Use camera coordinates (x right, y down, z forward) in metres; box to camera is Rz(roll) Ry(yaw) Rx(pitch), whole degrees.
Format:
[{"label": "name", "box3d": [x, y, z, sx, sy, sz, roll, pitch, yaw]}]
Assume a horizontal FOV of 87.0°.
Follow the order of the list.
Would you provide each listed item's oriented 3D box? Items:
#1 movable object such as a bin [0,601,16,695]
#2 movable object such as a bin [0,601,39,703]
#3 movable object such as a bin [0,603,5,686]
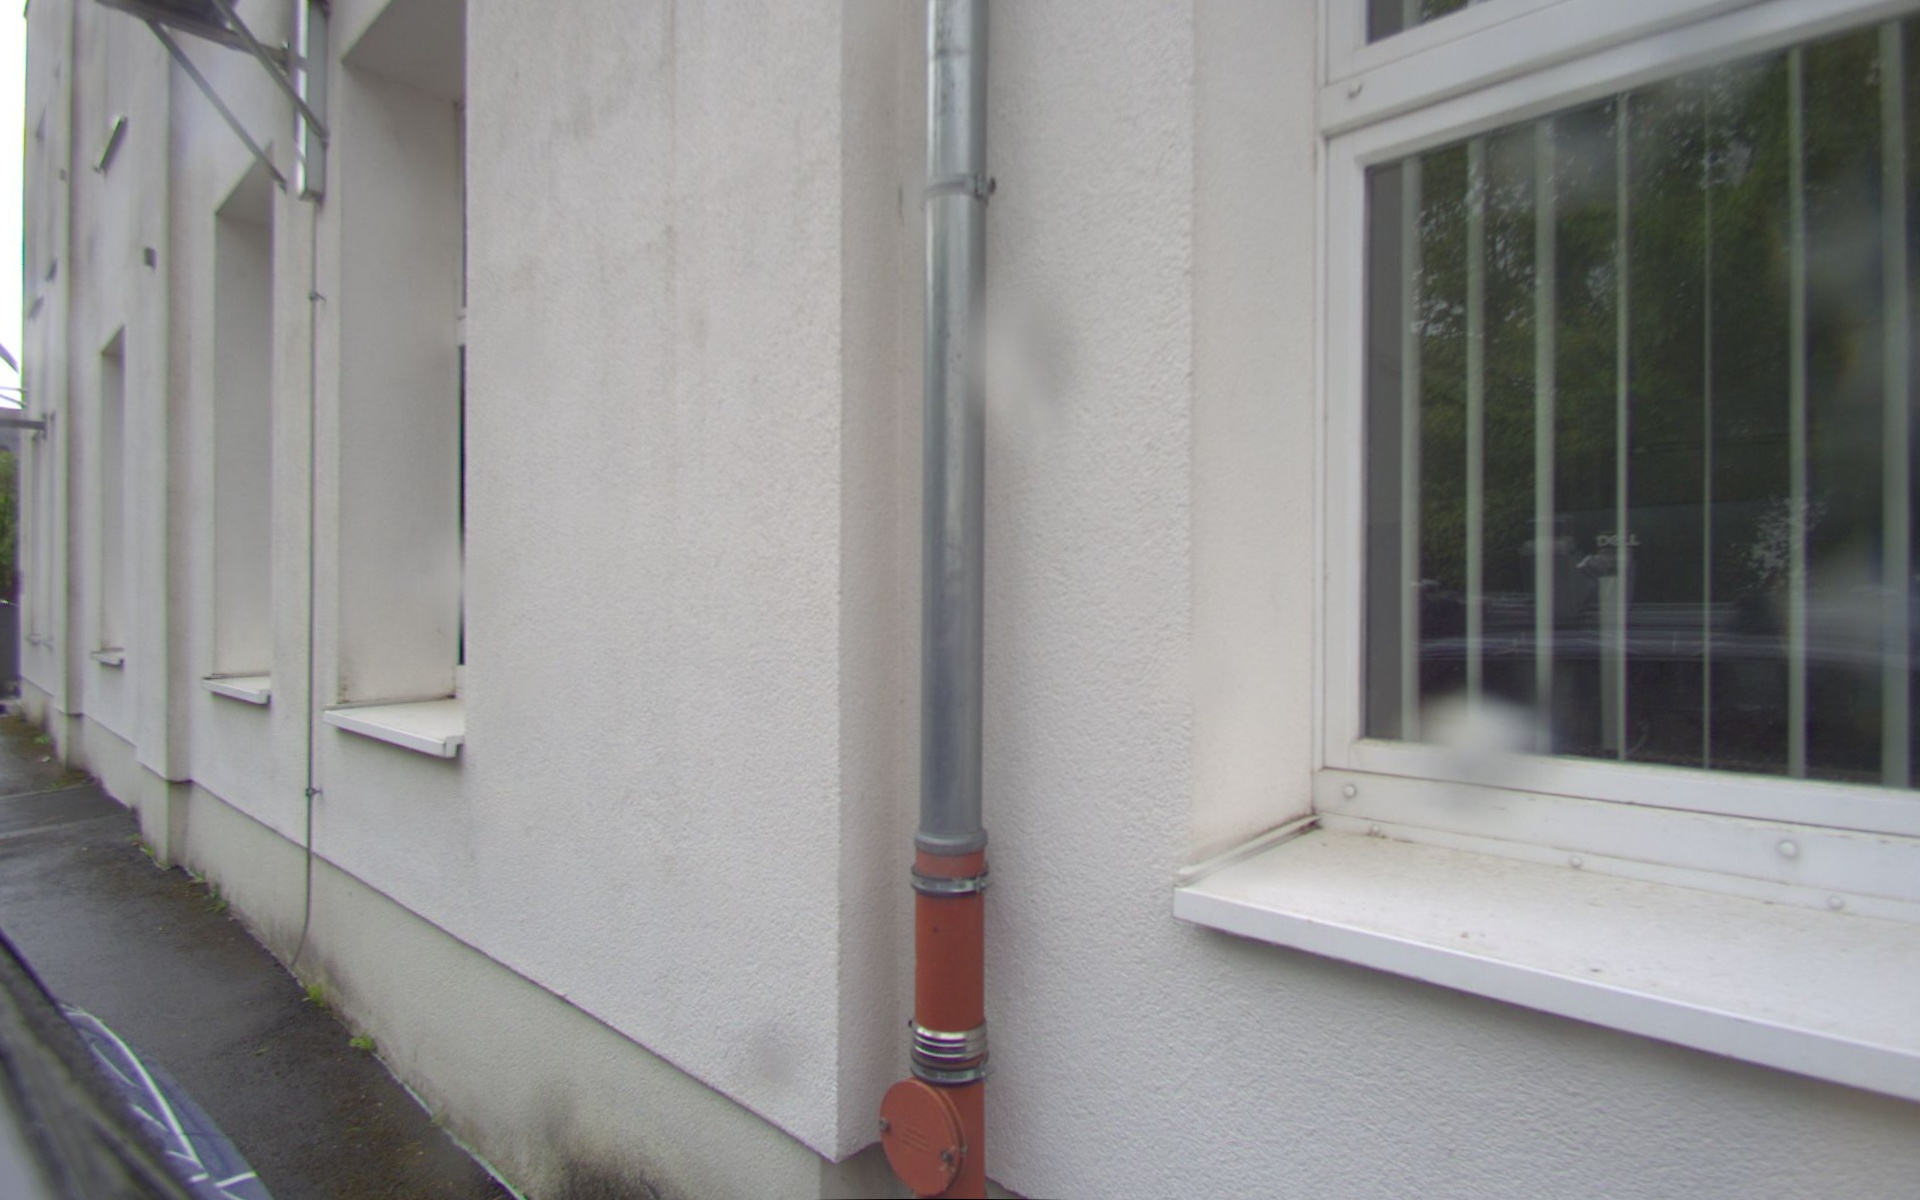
[{"label": "movable object such as a bin", "box3d": [-16.078, 0.748, 16.202, 1.495, 1.494, 1.153, 0, -2, 38]}, {"label": "movable object such as a bin", "box3d": [-14.840, 0.759, 15.239, 1.592, 1.494, 1.153, 0, -2, 38]}, {"label": "movable object such as a bin", "box3d": [-18.152, 0.833, 18.224, 1.400, 1.494, 1.154, -3, -2, 36]}]
